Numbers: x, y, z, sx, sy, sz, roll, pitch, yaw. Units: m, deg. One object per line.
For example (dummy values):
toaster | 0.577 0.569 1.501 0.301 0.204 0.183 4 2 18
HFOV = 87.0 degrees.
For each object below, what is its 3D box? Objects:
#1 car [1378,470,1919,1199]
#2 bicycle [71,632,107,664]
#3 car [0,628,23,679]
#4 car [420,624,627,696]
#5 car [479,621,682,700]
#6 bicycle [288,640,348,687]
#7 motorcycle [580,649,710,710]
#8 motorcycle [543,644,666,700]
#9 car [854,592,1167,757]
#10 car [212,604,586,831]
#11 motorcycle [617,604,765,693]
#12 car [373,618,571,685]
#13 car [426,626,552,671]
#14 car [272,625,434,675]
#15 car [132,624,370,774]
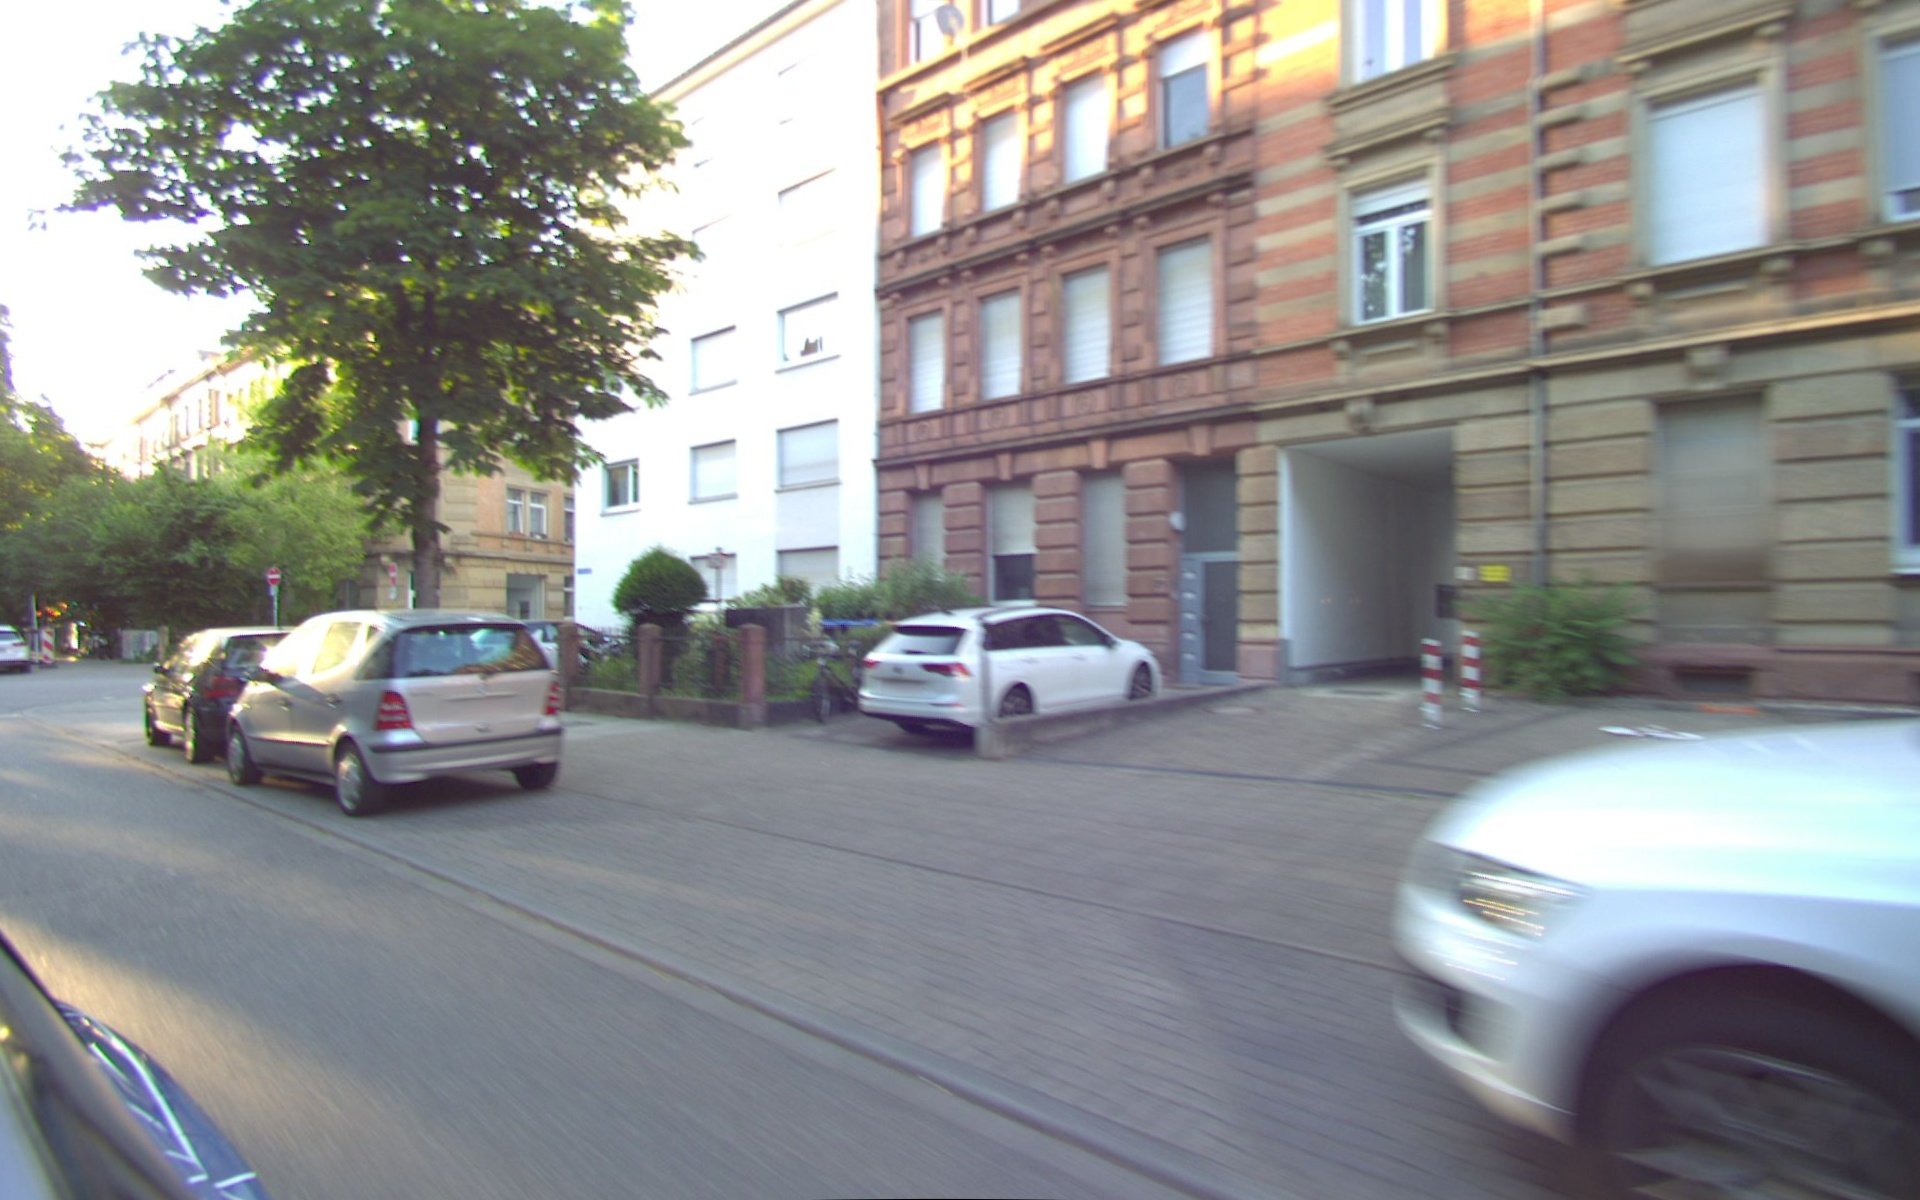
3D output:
car | 3.323 0.600 1.738 4.425 1.730 1.901 -2 -2 41
bicycle | -35.847 1.967 41.686 0.597 1.294 2.493 1 -2 -29
car | -30.985 1.691 31.820 4.734 1.513 1.672 -2 0 40
car | -10.020 1.328 23.344 4.040 1.458 1.821 0 -2 -39
car | -7.813 1.201 20.932 3.518 1.458 1.820 0 -3 -40
bicycle | -16.347 1.606 25.770 1.664 1.190 0.242 -1 -2 16
motorcycle | -5.696 1.417 18.395 2.207 0.965 0.588 0 -2 -40
motorcycle | -6.943 1.394 19.869 2.207 0.965 0.588 -1 -1 -40
car | 0.771 0.766 12.407 1.708 1.539 4.052 -2 1 40
car | -5.077 0.890 8.984 3.739 1.615 1.580 -2 -2 38
motorcycle | -5.278 0.931 20.029 2.817 1.651 0.676 1 -2 -41
car | -11.758 1.210 24.523 4.041 1.458 1.712 0 -3 -40
car | -17.685 1.787 38.203 1.702 1.564 4.064 1 -1 30
car | -20.335 1.675 34.084 1.703 1.564 4.419 -3 -3 31
car | -8.541 1.055 12.061 3.962 1.482 1.598 -2 -2 44
